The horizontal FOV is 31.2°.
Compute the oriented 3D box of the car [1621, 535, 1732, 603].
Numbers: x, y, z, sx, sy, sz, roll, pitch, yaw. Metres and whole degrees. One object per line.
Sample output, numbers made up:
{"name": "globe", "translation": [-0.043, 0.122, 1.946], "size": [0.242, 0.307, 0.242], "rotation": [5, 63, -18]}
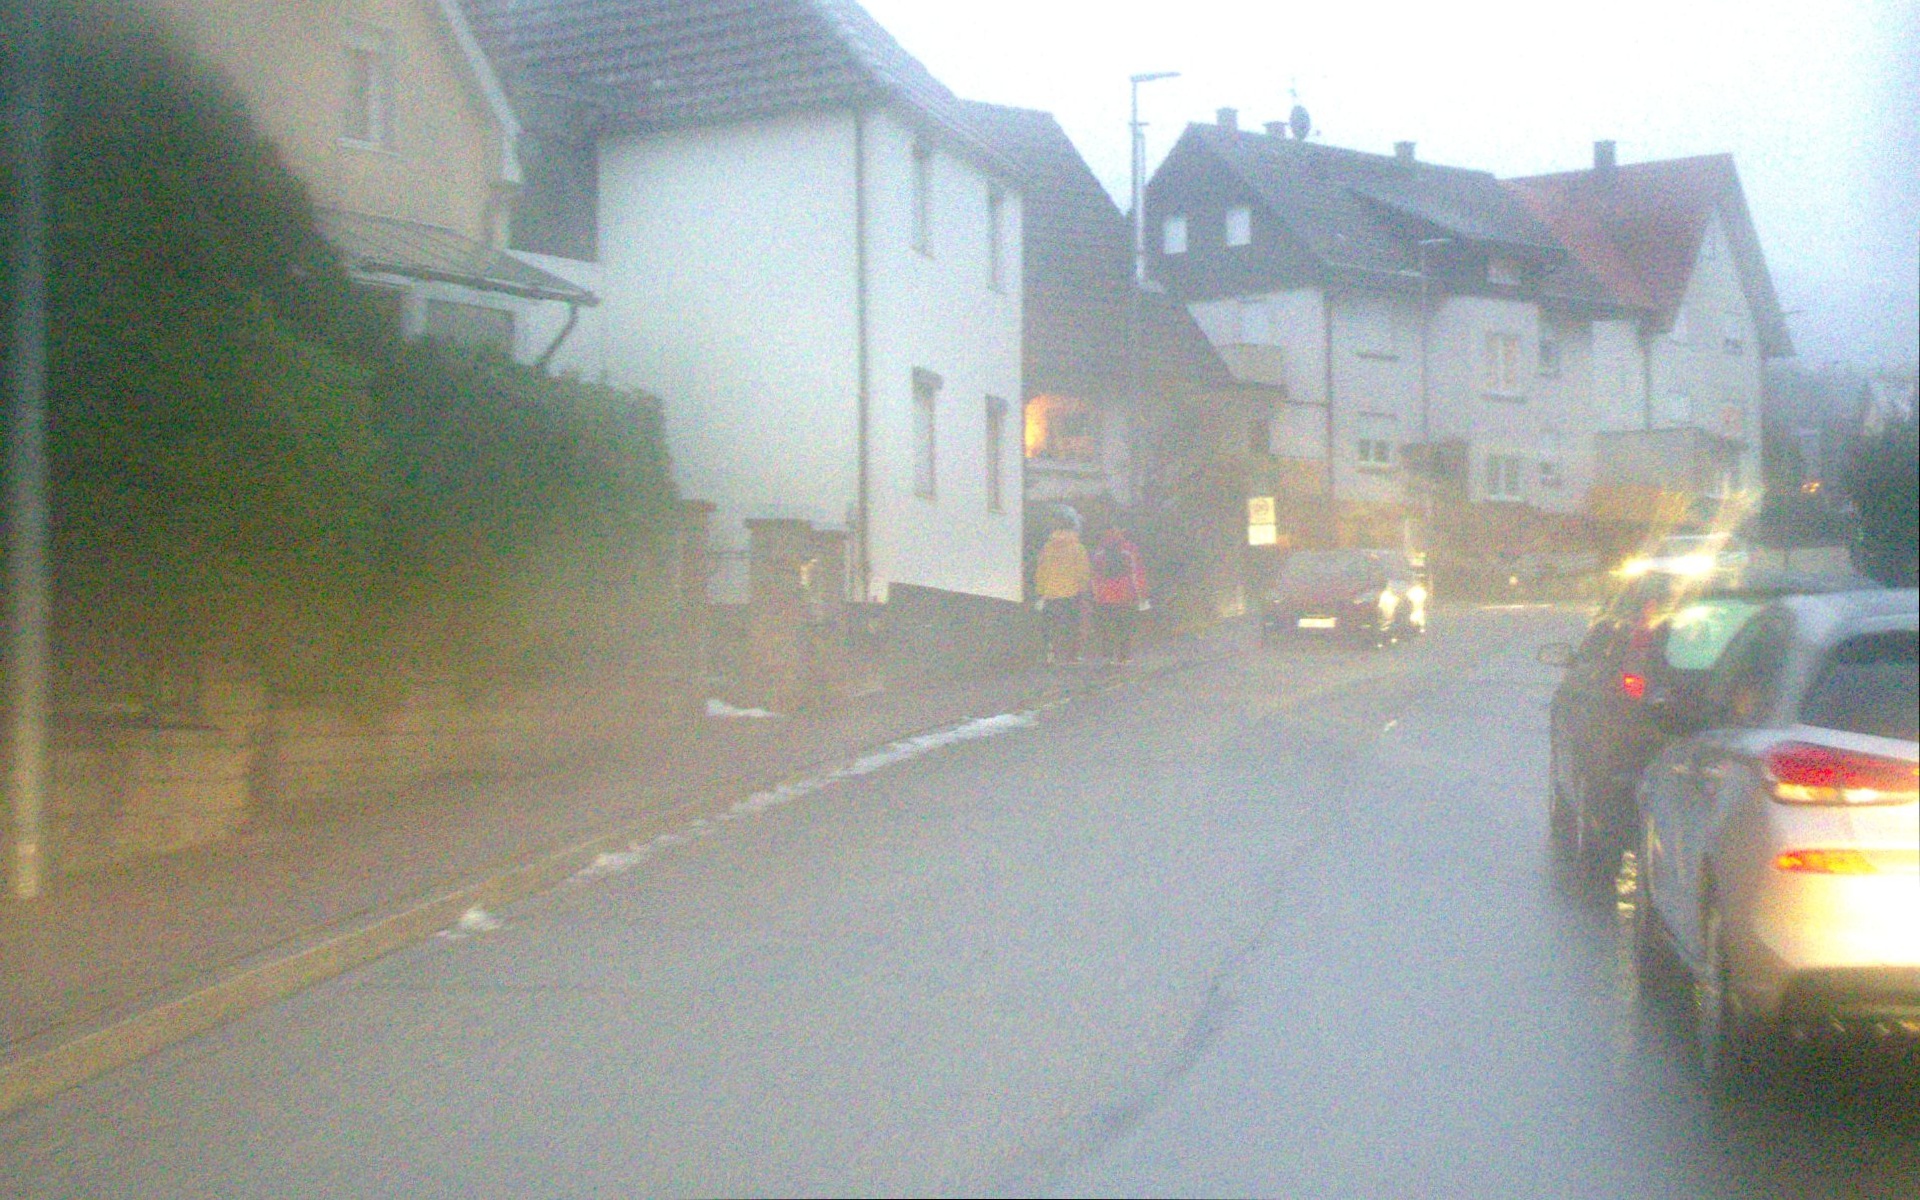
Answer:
{"name": "car", "translation": [17.114, -0.742, 81.993], "size": [1.760, 1.575, 3.995], "rotation": [0, 1, 24]}

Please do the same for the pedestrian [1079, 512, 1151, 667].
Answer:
{"name": "pedestrian", "translation": [1.796, -0.125, 39.806], "size": [0.706, 1.773, 0.811], "rotation": [0, 0, 12]}

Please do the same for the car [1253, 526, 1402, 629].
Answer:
{"name": "car", "translation": [5.490, -0.355, 51.005], "size": [1.824, 1.435, 4.066], "rotation": [0, 2, 11]}

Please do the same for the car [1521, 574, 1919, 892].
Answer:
{"name": "car", "translation": [3.917, 0.582, 17.972], "size": [1.726, 1.427, 4.797], "rotation": [0, 0, 7]}

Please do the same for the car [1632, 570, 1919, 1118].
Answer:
{"name": "car", "translation": [3.264, 0.622, 11.269], "size": [1.790, 1.434, 4.621], "rotation": [0, 0, 7]}

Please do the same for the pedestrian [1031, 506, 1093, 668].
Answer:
{"name": "pedestrian", "translation": [1.185, -0.156, 39.931], "size": [0.598, 1.863, 0.812], "rotation": [0, 0, 11]}
